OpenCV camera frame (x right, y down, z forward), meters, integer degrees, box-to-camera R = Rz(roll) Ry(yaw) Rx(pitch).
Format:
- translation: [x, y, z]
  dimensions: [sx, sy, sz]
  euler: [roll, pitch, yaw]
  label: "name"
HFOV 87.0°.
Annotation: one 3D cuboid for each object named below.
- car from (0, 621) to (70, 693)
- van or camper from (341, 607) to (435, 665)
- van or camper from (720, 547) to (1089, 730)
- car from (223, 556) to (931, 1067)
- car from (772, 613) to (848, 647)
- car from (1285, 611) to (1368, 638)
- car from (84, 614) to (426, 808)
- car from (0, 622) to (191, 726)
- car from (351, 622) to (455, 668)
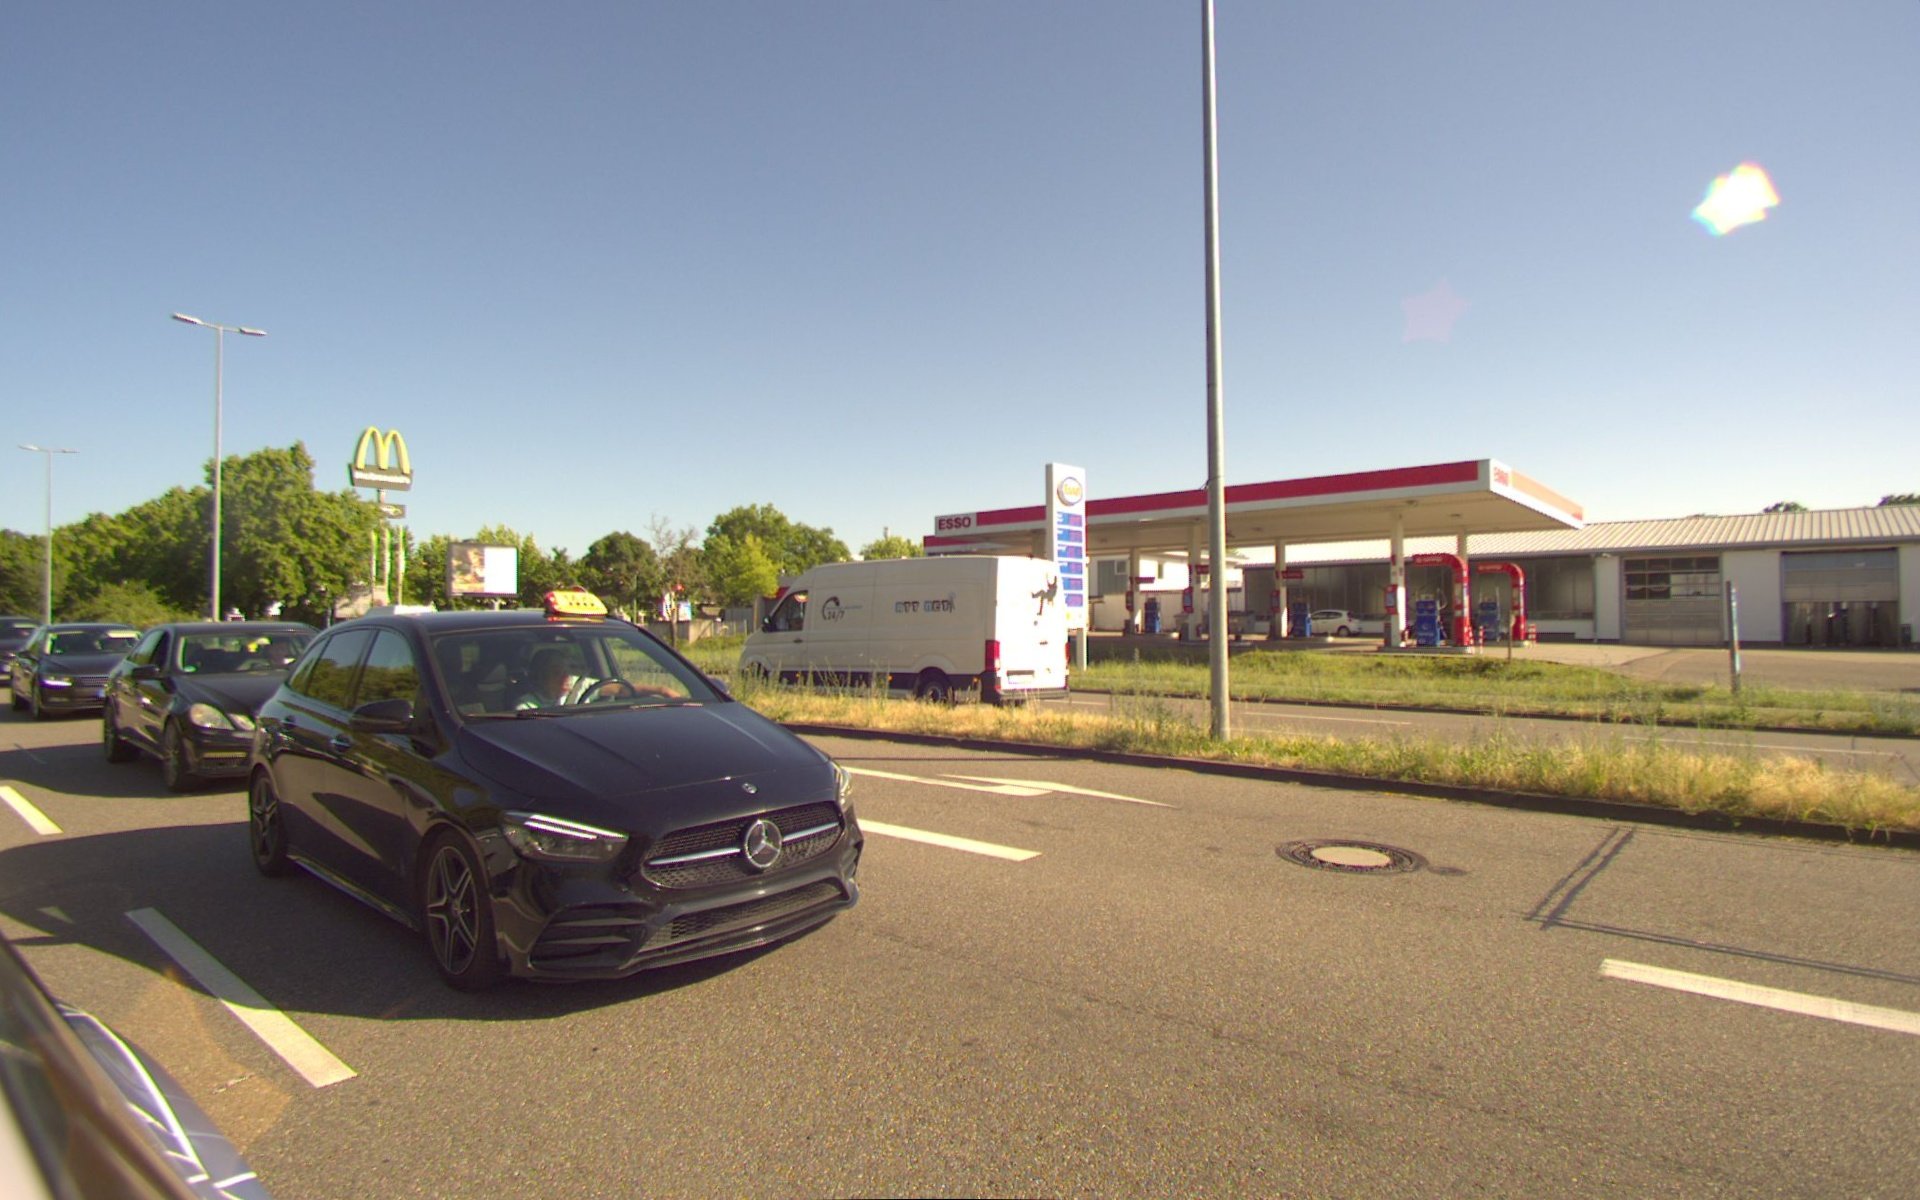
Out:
- translation: [-22.840, 1.314, 24.155]
  dimensions: [4.401, 1.600, 1.838]
  euler: [-2, -2, 41]
  label: "car"
- translation: [-27.841, 1.749, 49.193]
  dimensions: [5.952, 2.671, 1.973]
  euler: [-1, -4, 40]
  label: "van or camper"
- translation: [-1.216, 0.628, 17.419]
  dimensions: [6.750, 2.592, 2.155]
  euler: [-2, -2, 41]
  label: "van or camper"
- translation: [-2.278, 0.732, 5.333]
  dimensions: [4.187, 1.638, 1.780]
  euler: [-2, -2, 42]
  label: "car"
- translation: [-8.257, 1.645, 55.438]
  dimensions: [4.117, 1.783, 1.972]
  euler: [-2, -1, 43]
  label: "car"
- translation: [19.855, 1.331, 54.864]
  dimensions: [3.844, 1.450, 1.730]
  euler: [-2, -2, 39]
  label: "car"
- translation: [-7.232, 0.935, 10.202]
  dimensions: [4.401, 1.535, 1.838]
  euler: [-2, -2, 41]
  label: "car"
- translation: [-14.419, 1.128, 16.769]
  dimensions: [4.401, 1.492, 1.838]
  euler: [-2, -2, 41]
  label: "car"
- translation: [-21.832, 1.763, 39.587]
  dimensions: [4.609, 1.666, 1.973]
  euler: [-2, -4, 40]
  label: "car"
